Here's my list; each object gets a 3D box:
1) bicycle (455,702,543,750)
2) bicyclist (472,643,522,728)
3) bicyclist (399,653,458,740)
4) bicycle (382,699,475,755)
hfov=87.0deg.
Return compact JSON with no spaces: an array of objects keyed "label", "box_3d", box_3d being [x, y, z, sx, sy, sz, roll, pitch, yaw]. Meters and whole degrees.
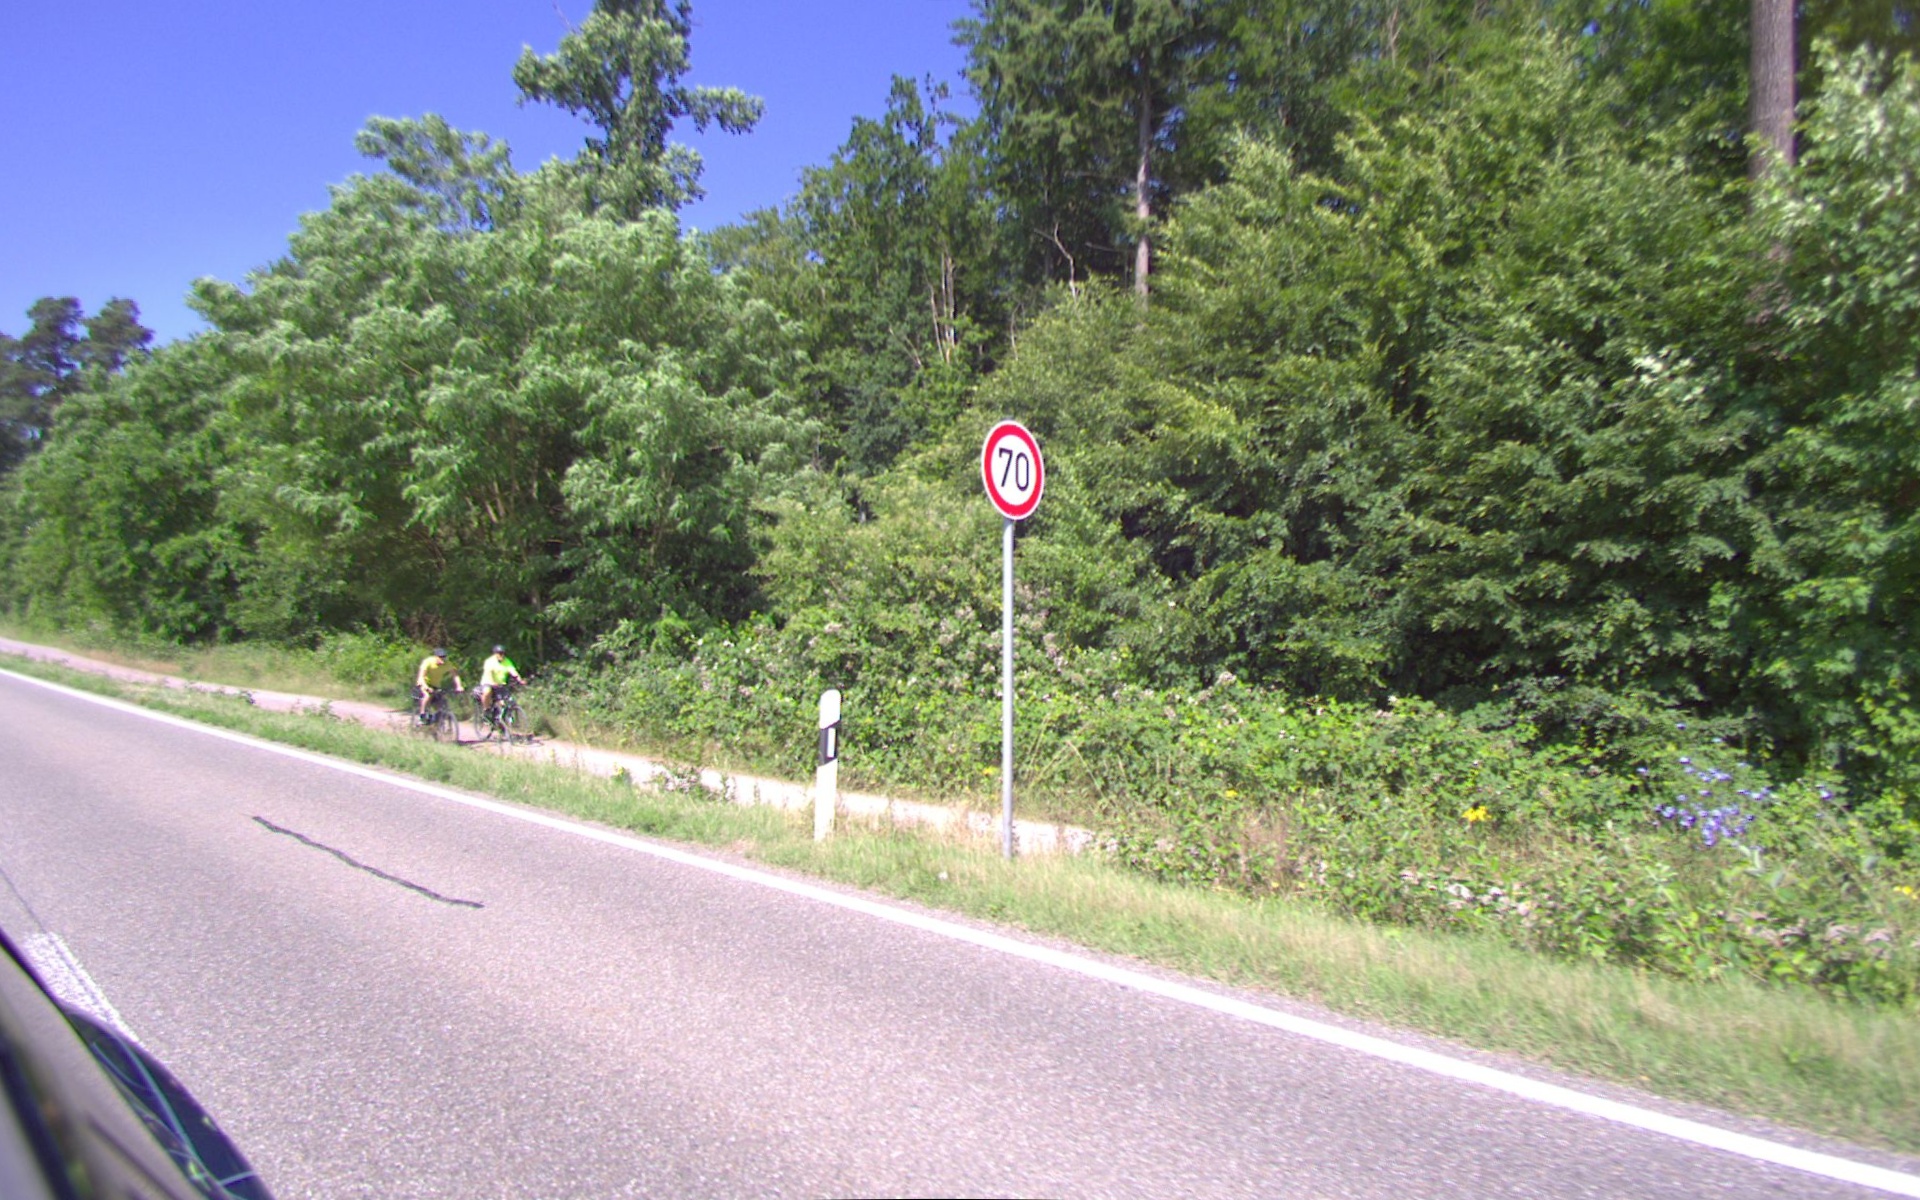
[{"label":"bicycle","box_3d":[-8.350,2.253,18.297,2.135,0.686,0.612,-1,-2,41]},{"label":"bicyclist","box_3d":[-8.367,1.525,18.293,0.702,1.426,0.599,2,2,41]},{"label":"bicyclist","box_3d":[-9.108,1.640,17.351,0.702,1.426,0.599,-1,-5,41]},{"label":"bicycle","box_3d":[-9.096,2.148,17.278,2.136,0.794,0.633,-1,-5,41]}]
